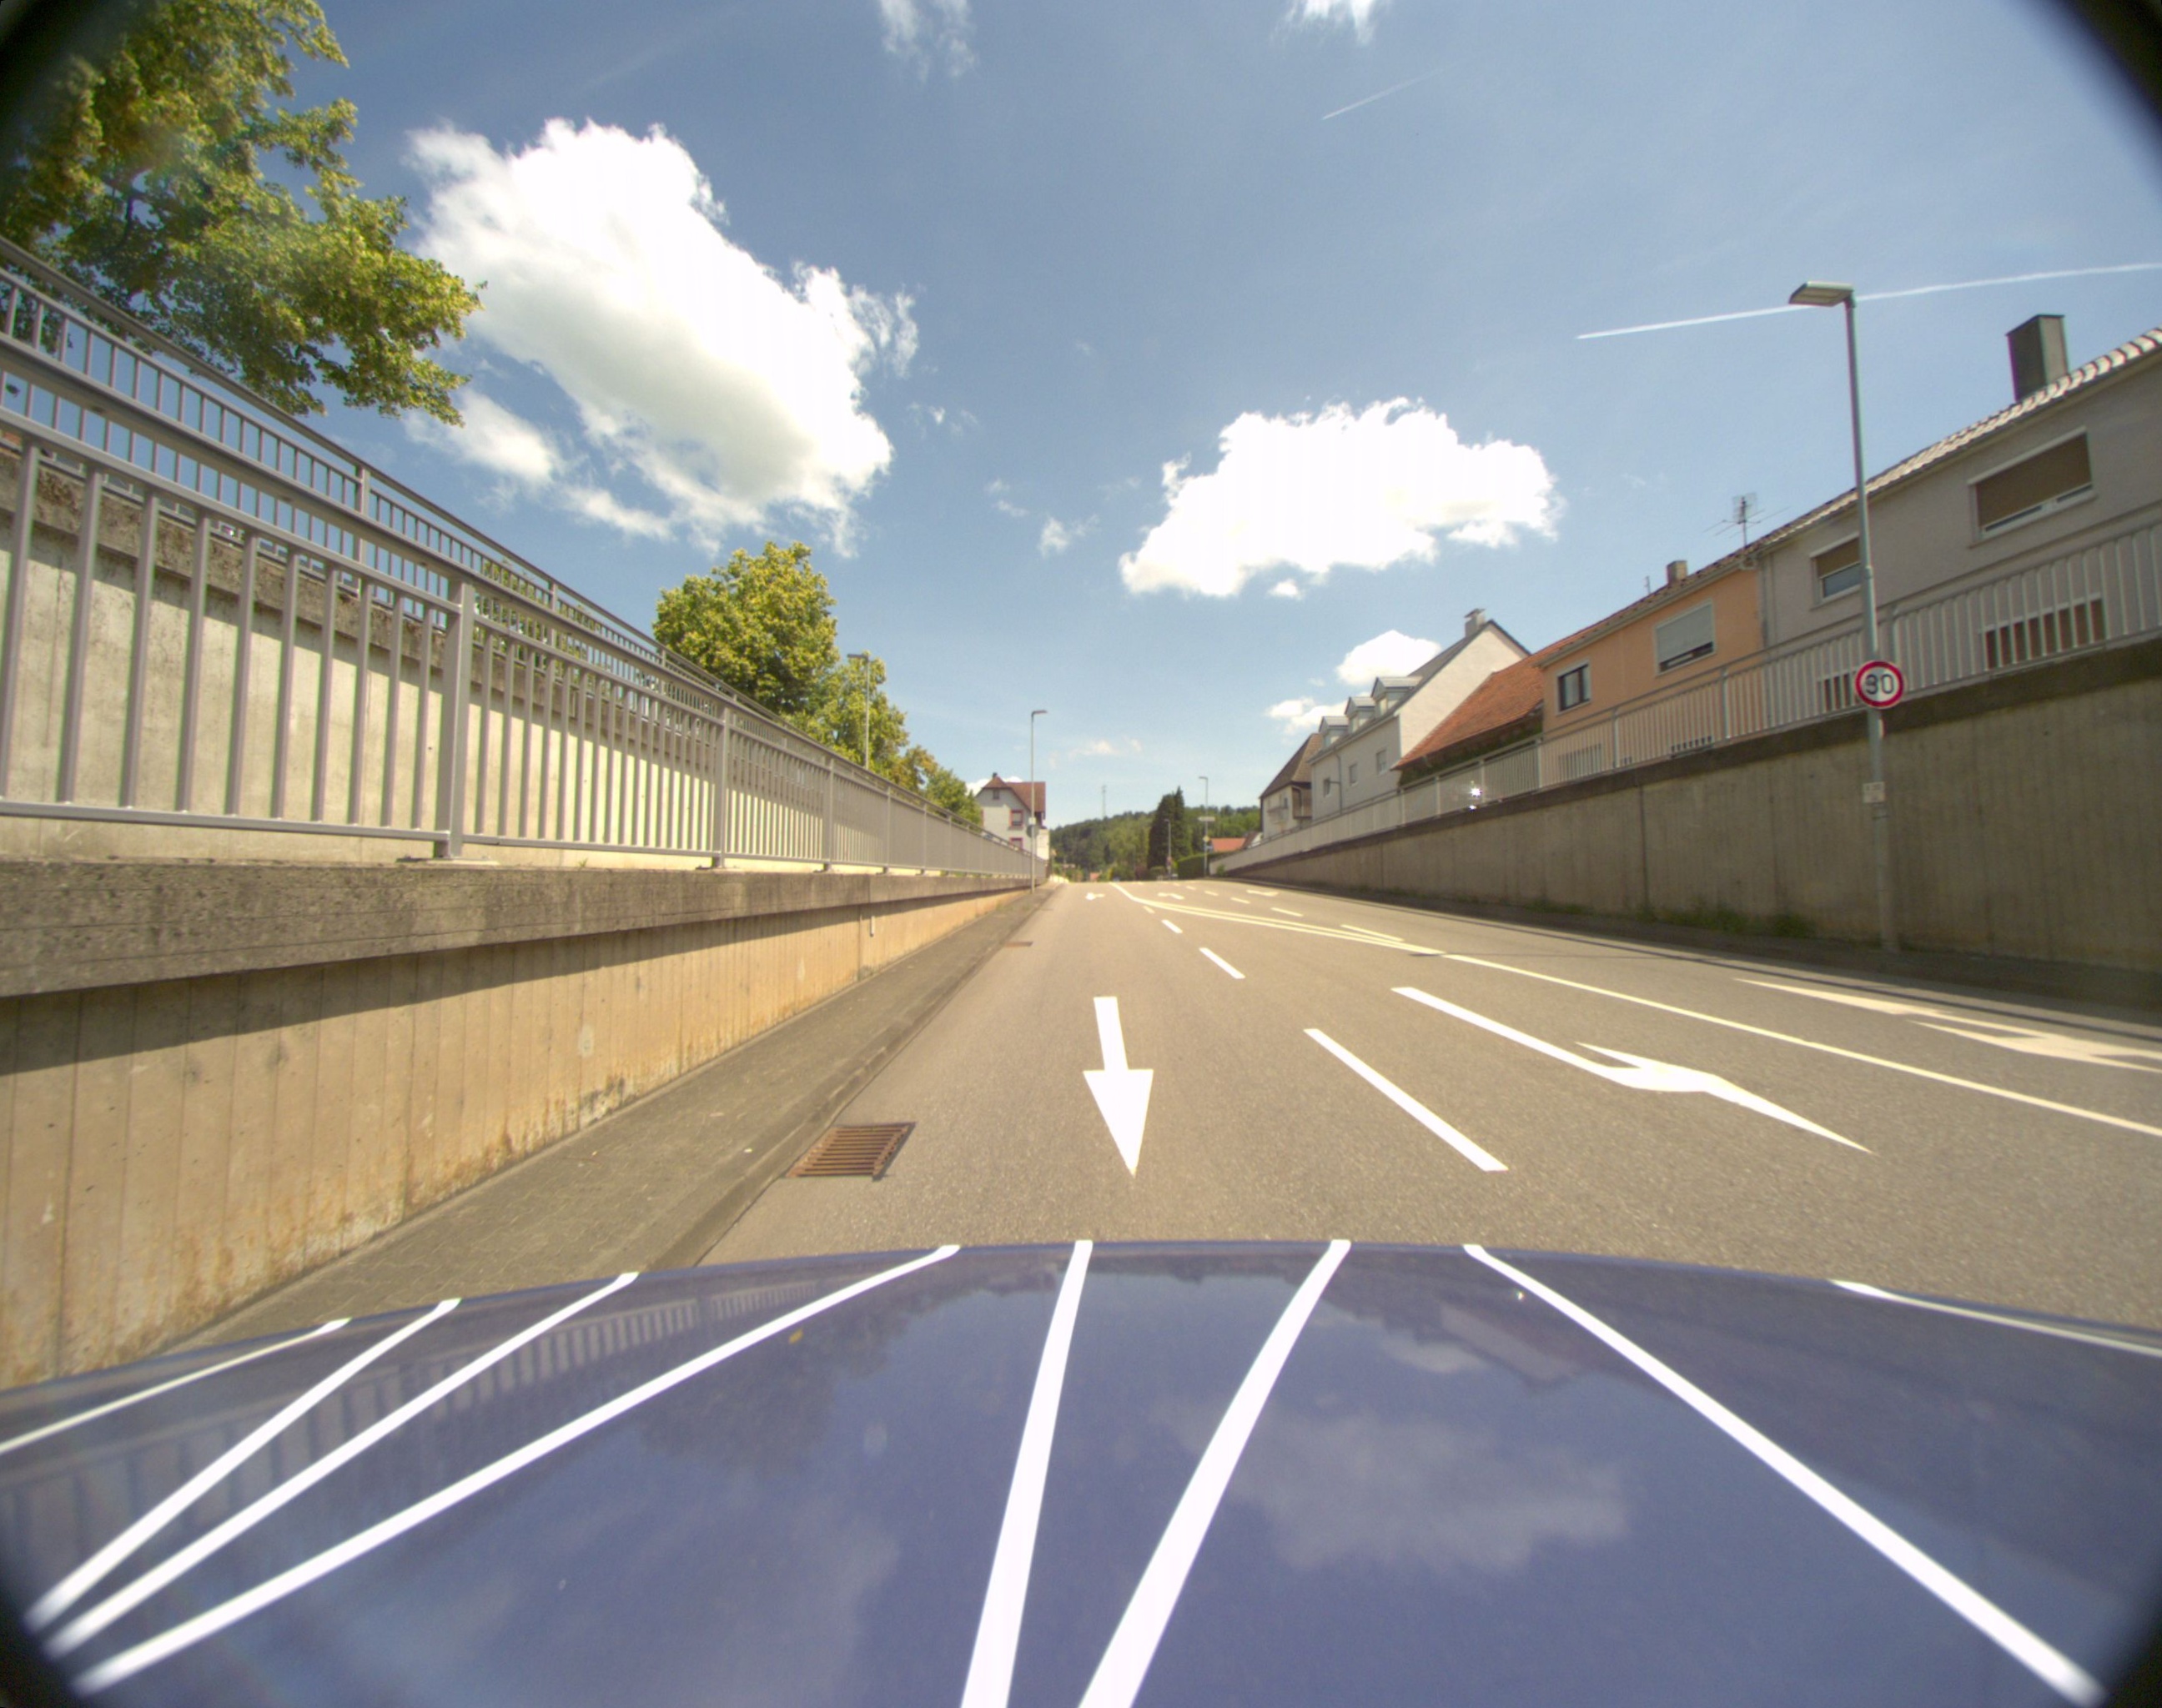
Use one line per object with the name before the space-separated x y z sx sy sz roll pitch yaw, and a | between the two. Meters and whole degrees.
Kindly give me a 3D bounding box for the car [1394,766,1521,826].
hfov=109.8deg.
car | 12.023 -1.792 24.618 1.790 1.396 4.394 -1 -2 -2
